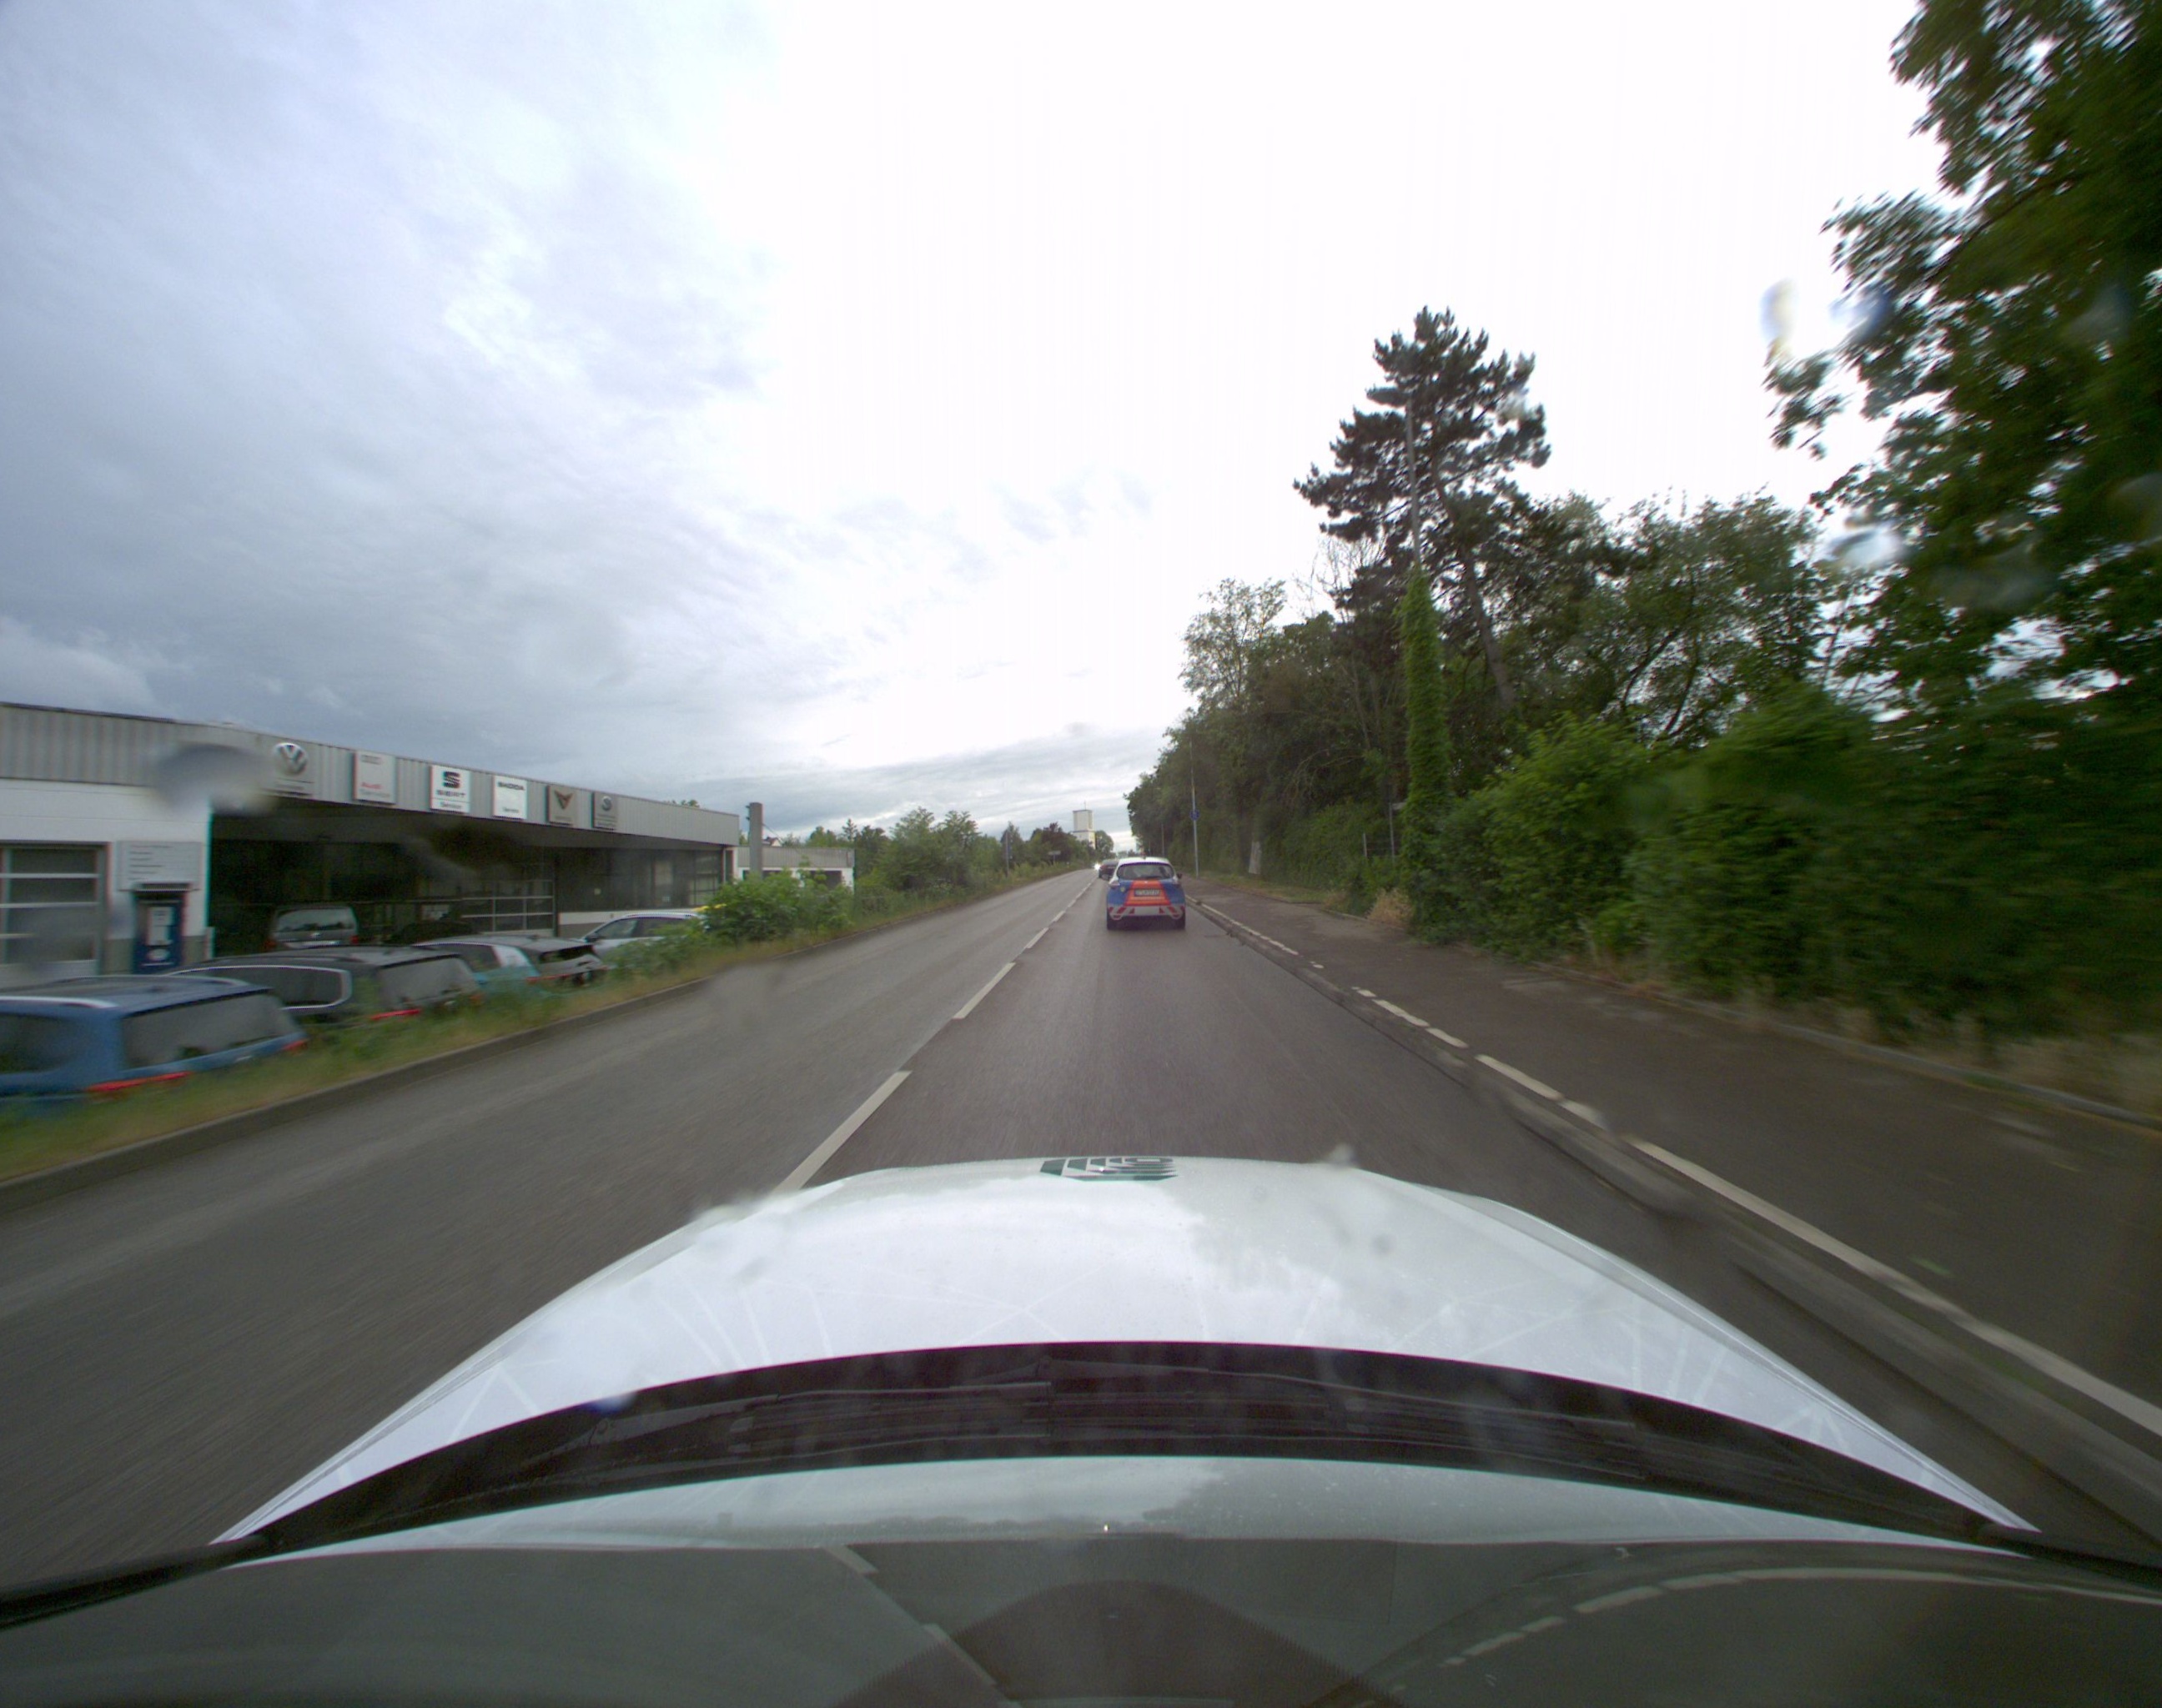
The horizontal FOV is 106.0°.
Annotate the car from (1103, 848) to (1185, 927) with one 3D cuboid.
[{"bbox_3d":[1.389,0.752,18.729,1.651,1.593,3.570,-2,-2,2],"label":"car"}]

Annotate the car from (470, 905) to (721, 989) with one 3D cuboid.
[{"bbox_3d":[-10.344,1.956,17.615,4.215,1.368,1.873,-3,0,-2],"label":"car"}]

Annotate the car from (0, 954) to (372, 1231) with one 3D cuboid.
[{"bbox_3d":[-9.349,2.015,7.111,4.400,1.798,2.001,-3,0,-2],"label":"car"}]

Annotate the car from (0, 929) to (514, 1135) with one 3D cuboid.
[{"bbox_3d":[-9.553,1.982,9.653,4.215,1.798,1.873,-3,0,-2],"label":"car"}]

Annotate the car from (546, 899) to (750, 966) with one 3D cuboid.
[{"bbox_3d":[-10.721,1.928,20.373,4.051,1.291,1.803,-3,0,-2],"label":"car"}]

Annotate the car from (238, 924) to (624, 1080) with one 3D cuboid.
[{"bbox_3d":[-9.648,2.159,12.383,4.215,1.798,1.873,-3,0,-2],"label":"car"}]

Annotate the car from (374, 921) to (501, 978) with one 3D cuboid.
[{"bbox_3d":[-19.632,2.838,24.822,3.969,1.416,1.966,-3,-1,36],"label":"car"}]

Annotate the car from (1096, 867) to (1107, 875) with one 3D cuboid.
[{"bbox_3d":[4.388,3.634,174.068,1.859,1.585,4.422,0,0,6],"label":"car"}]

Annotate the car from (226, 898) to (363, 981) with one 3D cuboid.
[{"bbox_3d":[-21.769,2.372,22.487,4.426,1.960,2.001,-6,-3,37],"label":"car"}]

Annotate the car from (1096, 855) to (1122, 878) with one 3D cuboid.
[{"bbox_3d":[2.066,0.969,61.219,1.796,1.590,3.562,-3,-1,0],"label":"car"}]
